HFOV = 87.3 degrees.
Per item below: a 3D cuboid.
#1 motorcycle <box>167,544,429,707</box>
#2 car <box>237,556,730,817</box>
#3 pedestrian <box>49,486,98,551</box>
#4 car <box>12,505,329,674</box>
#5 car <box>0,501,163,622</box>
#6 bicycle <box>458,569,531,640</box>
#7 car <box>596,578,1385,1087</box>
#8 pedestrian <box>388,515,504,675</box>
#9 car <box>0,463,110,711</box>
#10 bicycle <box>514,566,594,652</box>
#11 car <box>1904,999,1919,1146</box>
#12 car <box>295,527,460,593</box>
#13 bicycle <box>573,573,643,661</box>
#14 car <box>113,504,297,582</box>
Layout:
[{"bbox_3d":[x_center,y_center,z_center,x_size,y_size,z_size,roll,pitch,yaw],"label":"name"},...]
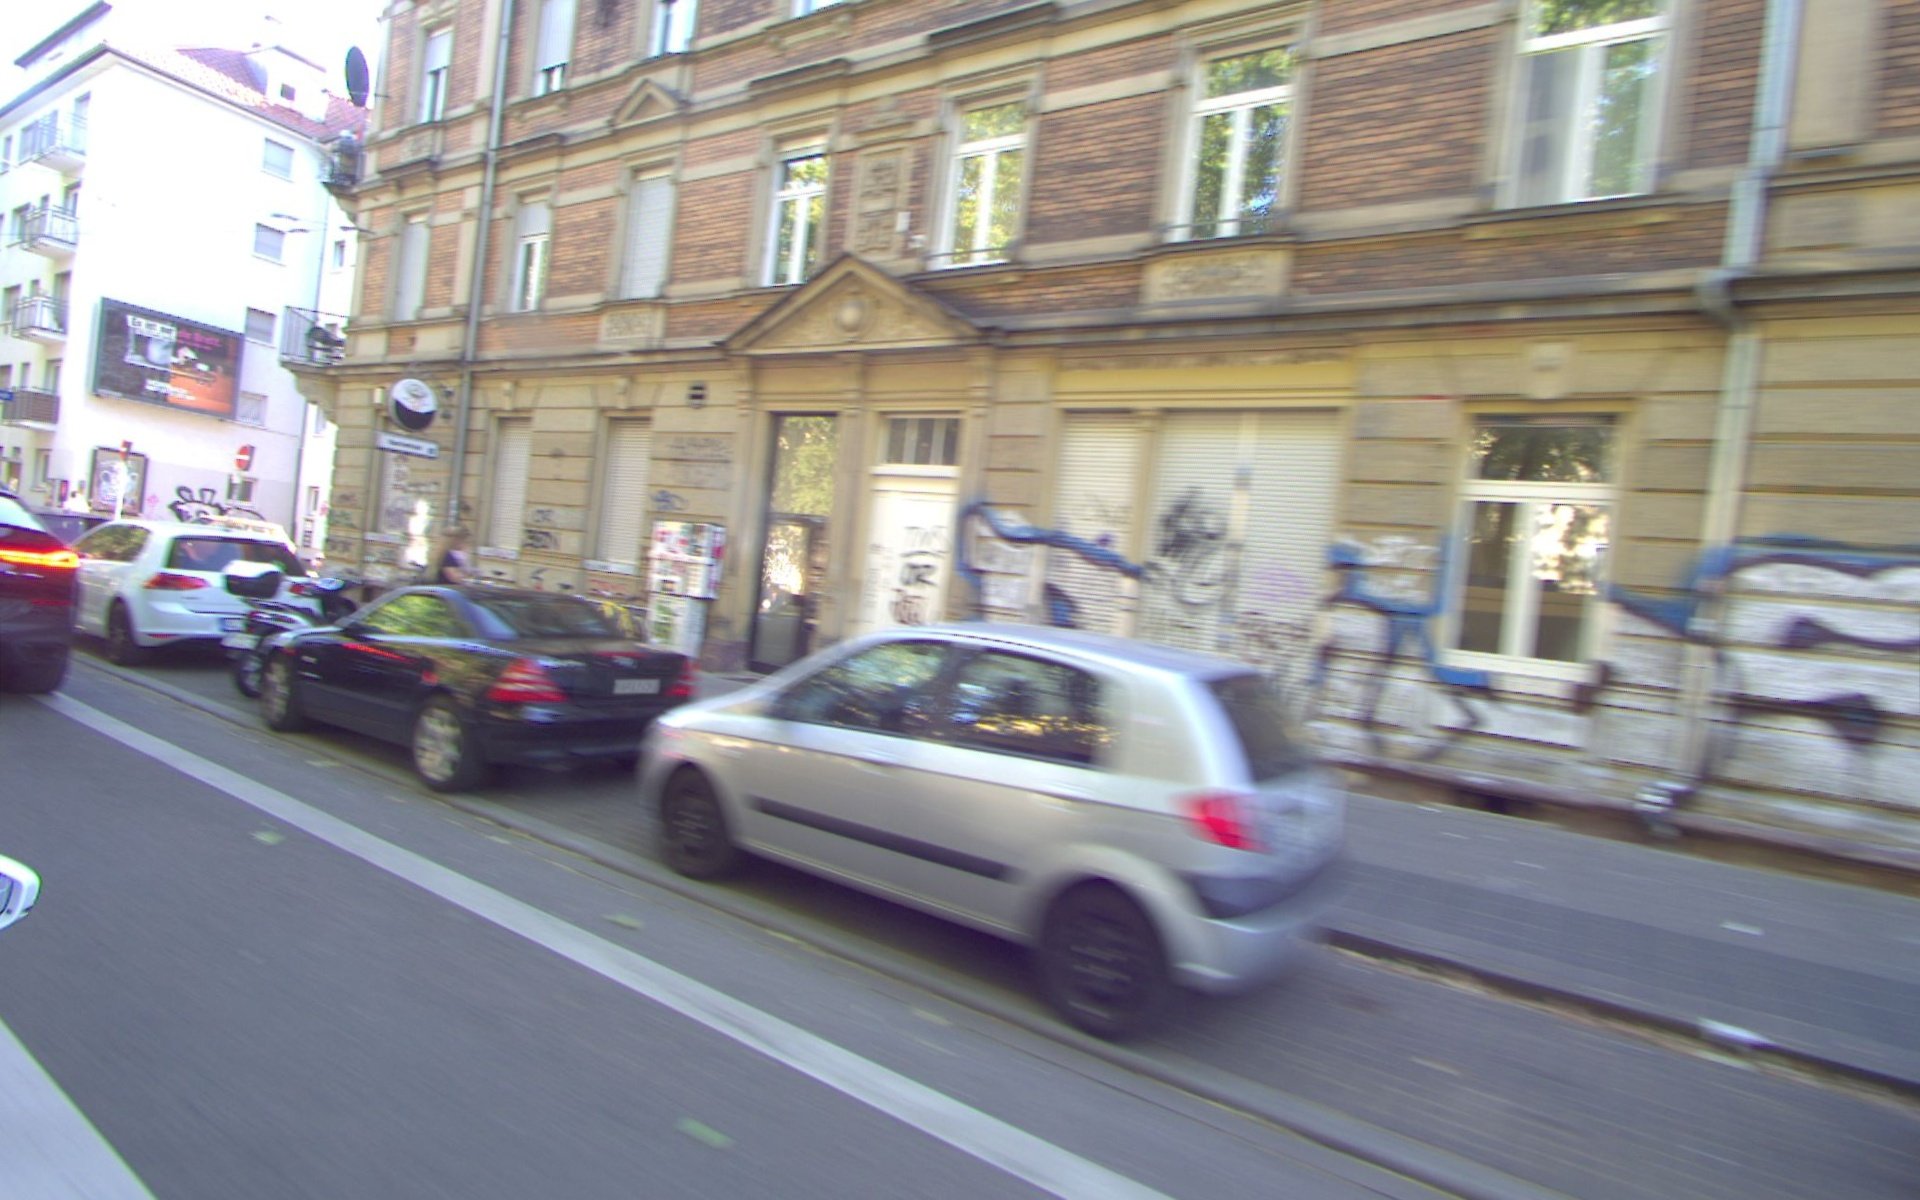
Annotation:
[{"bbox_3d":[-6.135,0.257,9.515,0.631,1.305,2.142,7,-1,12],"label":"motorcycle"},{"bbox_3d":[-3.681,0.498,7.591,3.664,1.289,1.649,6,2,33],"label":"car"},{"bbox_3d":[-23.705,-2.178,26.895,0.918,1.599,0.632,6,-1,36],"label":"pedestrian"},{"bbox_3d":[-8.849,-0.168,11.181,3.949,1.439,1.602,6,2,34],"label":"car"},{"bbox_3d":[-13.135,-0.623,14.369,3.996,1.439,1.648,6,2,35],"label":"car"},{"bbox_3d":[-7.613,0.066,16.427,1.351,1.013,0.378,7,1,36],"label":"bicycle"},{"bbox_3d":[-0.016,0.815,5.167,3.682,1.471,1.605,6,2,35],"label":"car"},{"bbox_3d":[-5.761,-0.044,11.288,0.705,1.677,0.764,7,0,34],"label":"pedestrian"},{"bbox_3d":[-8.800,-0.344,7.969,4.557,1.724,1.946,7,-1,35],"label":"car"},{"bbox_3d":[-6.275,0.134,15.505,1.351,1.168,0.378,7,1,36],"label":"bicycle"},{"bbox_3d":[4.342,1.266,2.336,2.776,1.563,1.510,7,2,34],"label":"car"},{"bbox_3d":[-18.177,-1.216,31.551,1.762,1.473,4.027,7,-1,34],"label":"car"},{"bbox_3d":[-5.201,0.242,14.825,1.121,1.168,0.273,7,1,36],"label":"bicycle"},{"bbox_3d":[-20.724,-1.530,27.715,1.764,1.593,3.648,7,-1,39],"label":"car"}]
